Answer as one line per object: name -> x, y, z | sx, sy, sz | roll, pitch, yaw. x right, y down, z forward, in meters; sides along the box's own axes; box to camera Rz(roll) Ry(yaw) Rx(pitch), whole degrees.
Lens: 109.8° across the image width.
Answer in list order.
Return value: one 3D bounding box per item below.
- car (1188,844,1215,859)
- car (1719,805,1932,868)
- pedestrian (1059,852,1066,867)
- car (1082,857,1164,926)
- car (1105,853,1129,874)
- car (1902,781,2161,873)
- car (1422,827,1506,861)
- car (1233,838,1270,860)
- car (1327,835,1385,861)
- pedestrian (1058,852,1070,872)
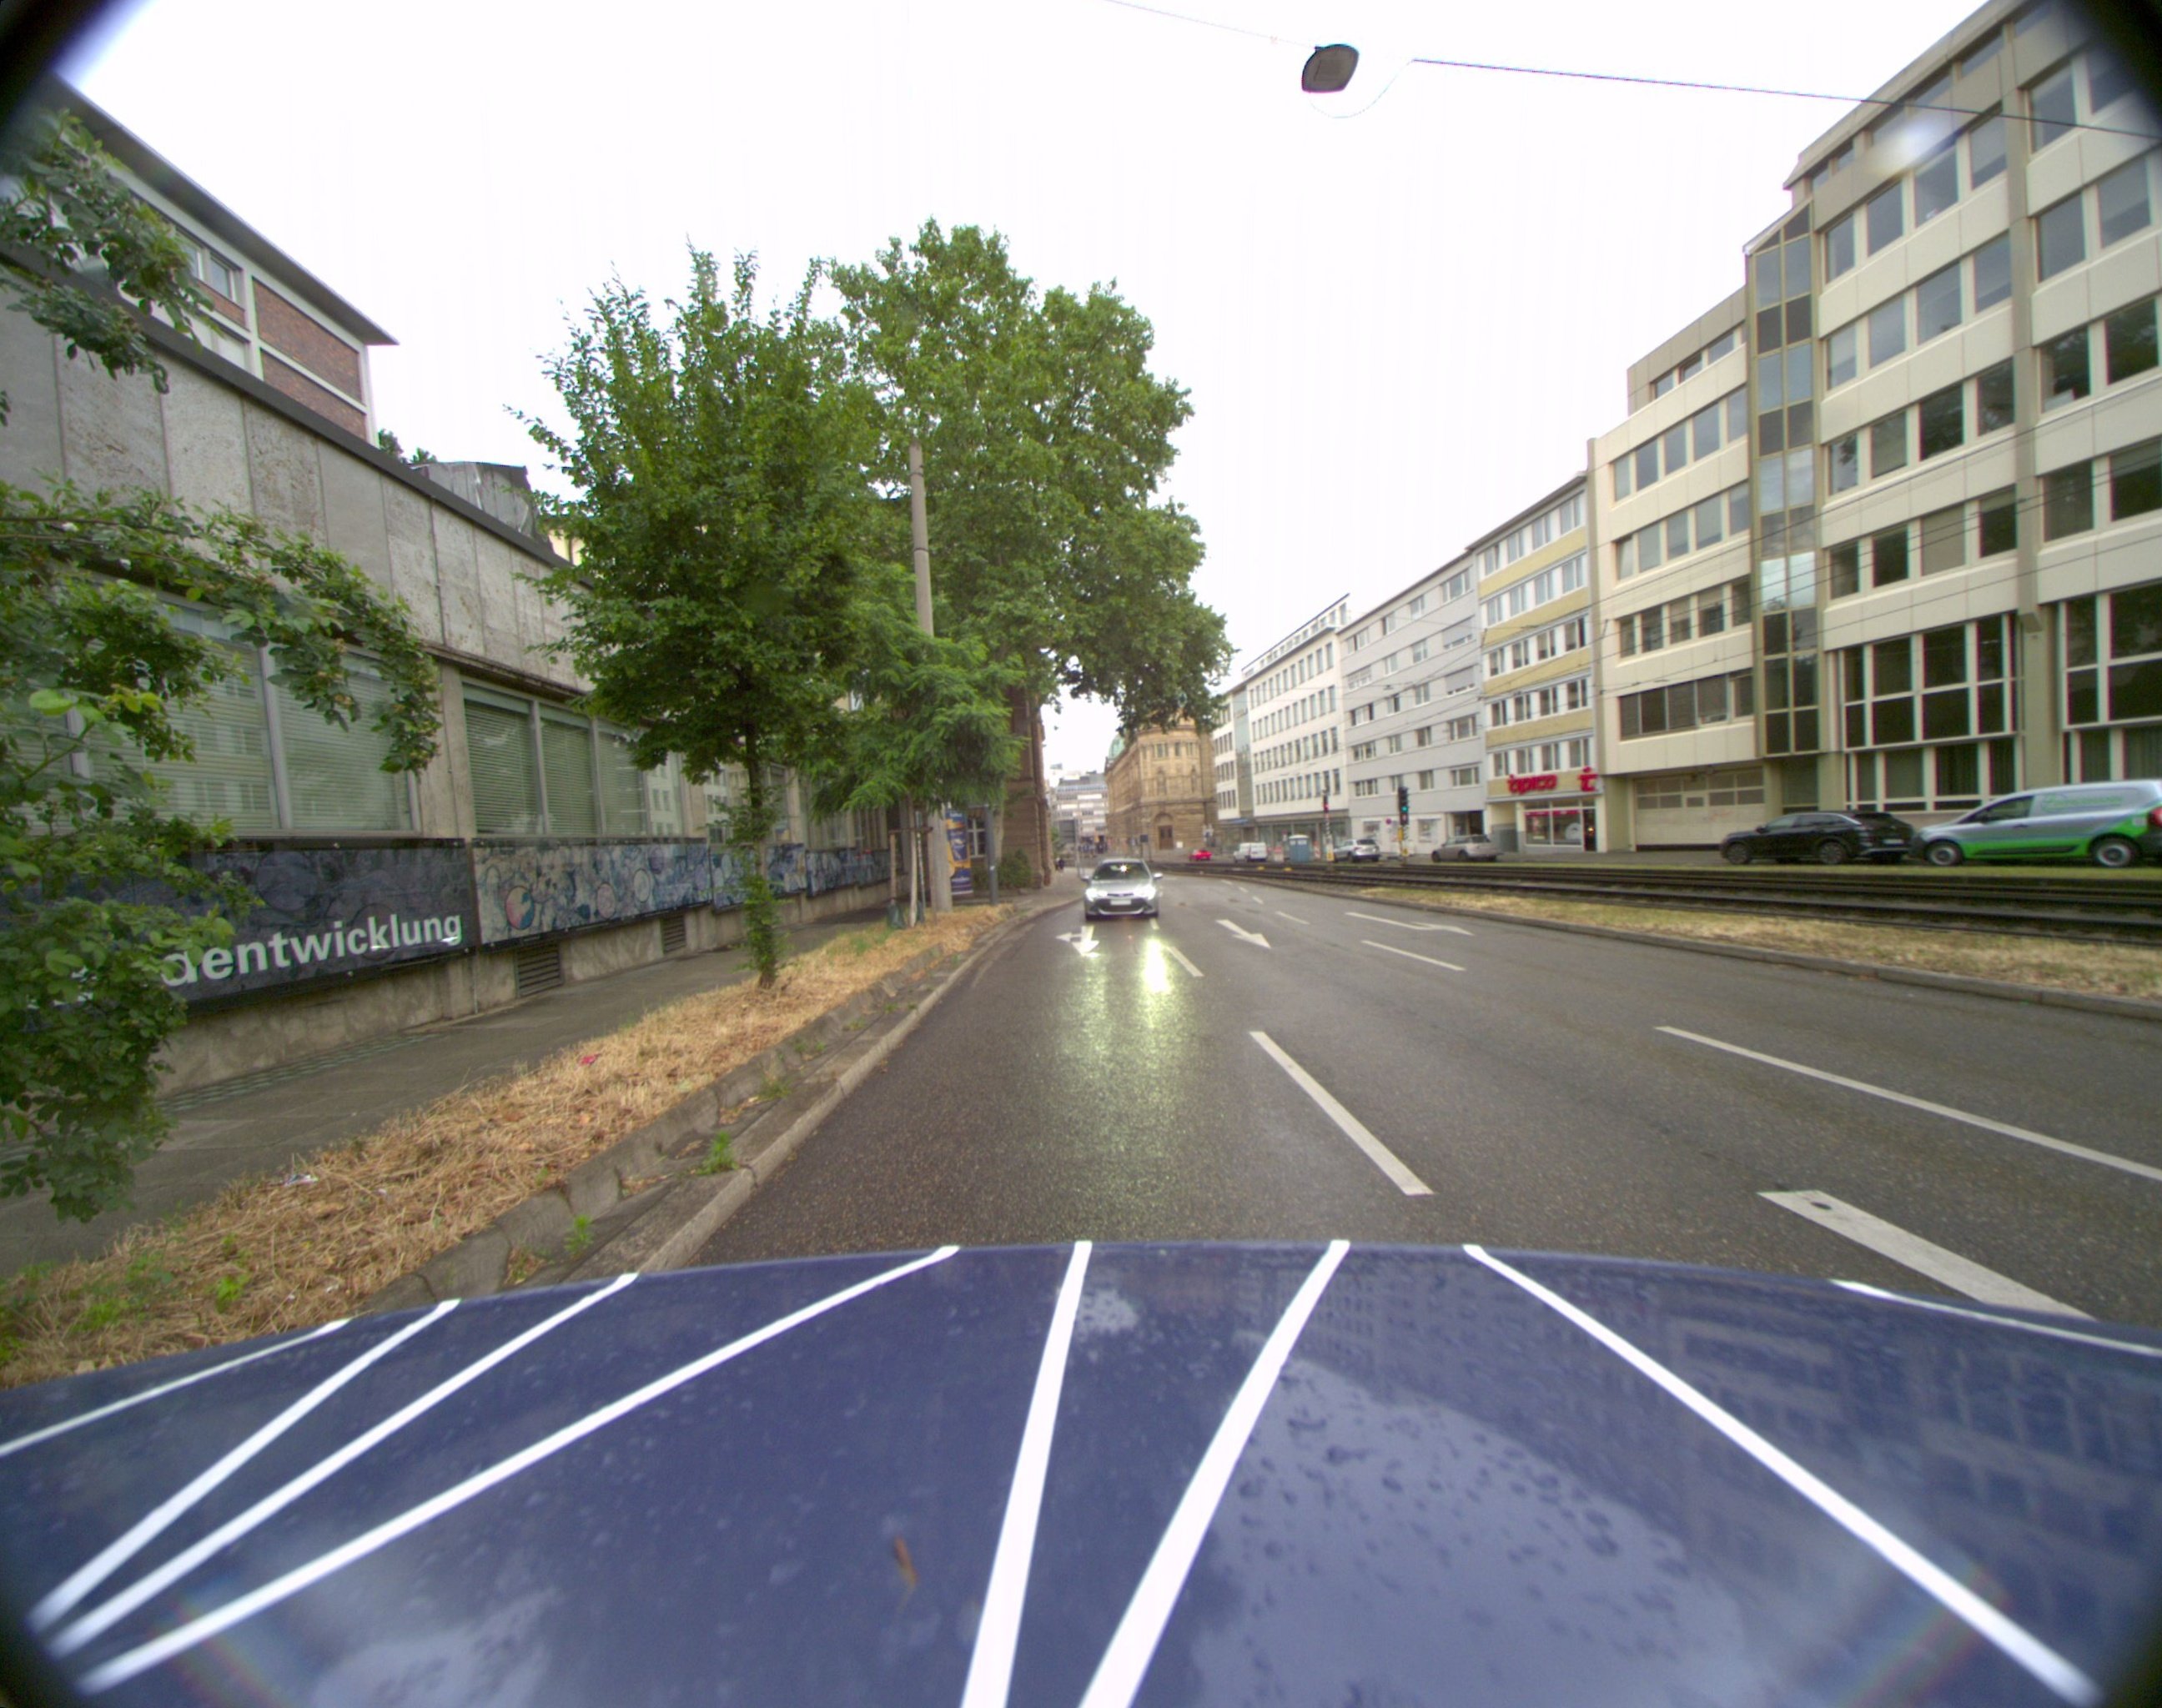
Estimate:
car -> 14.550, -0.363, 92.112 | 1.890, 1.615, 4.474 | -5, 1, -7
car -> 21.067, -0.467, 21.774 | 1.801, 1.505, 4.075 | -5, 1, -7
pedestrian -> -2.103, 0.593, 86.893 | 0.719, 1.630, 0.760 | -5, 2, 1
car -> 0.963, 0.856, 19.306 | 1.811, 1.426, 4.297 | -2, 1, 0
car -> 2.711, 0.708, 57.968 | 1.654, 1.426, 3.439 | -2, 1, 0
car -> 21.505, -0.583, 16.812 | 1.801, 1.736, 4.213 | -5, 1, -8
car -> 19.493, -0.496, 38.909 | 1.801, 1.505, 4.075 | -5, 1, -7
car -> 16.328, -0.498, 72.957 | 1.890, 1.924, 4.474 | -5, 1, -7
car -> 18.169, -0.418, 50.454 | 1.890, 1.505, 4.075 | -5, 1, -7
pedestrian -> -1.487, 0.668, 65.921 | 0.719, 1.630, 0.760 | -5, 2, 10
